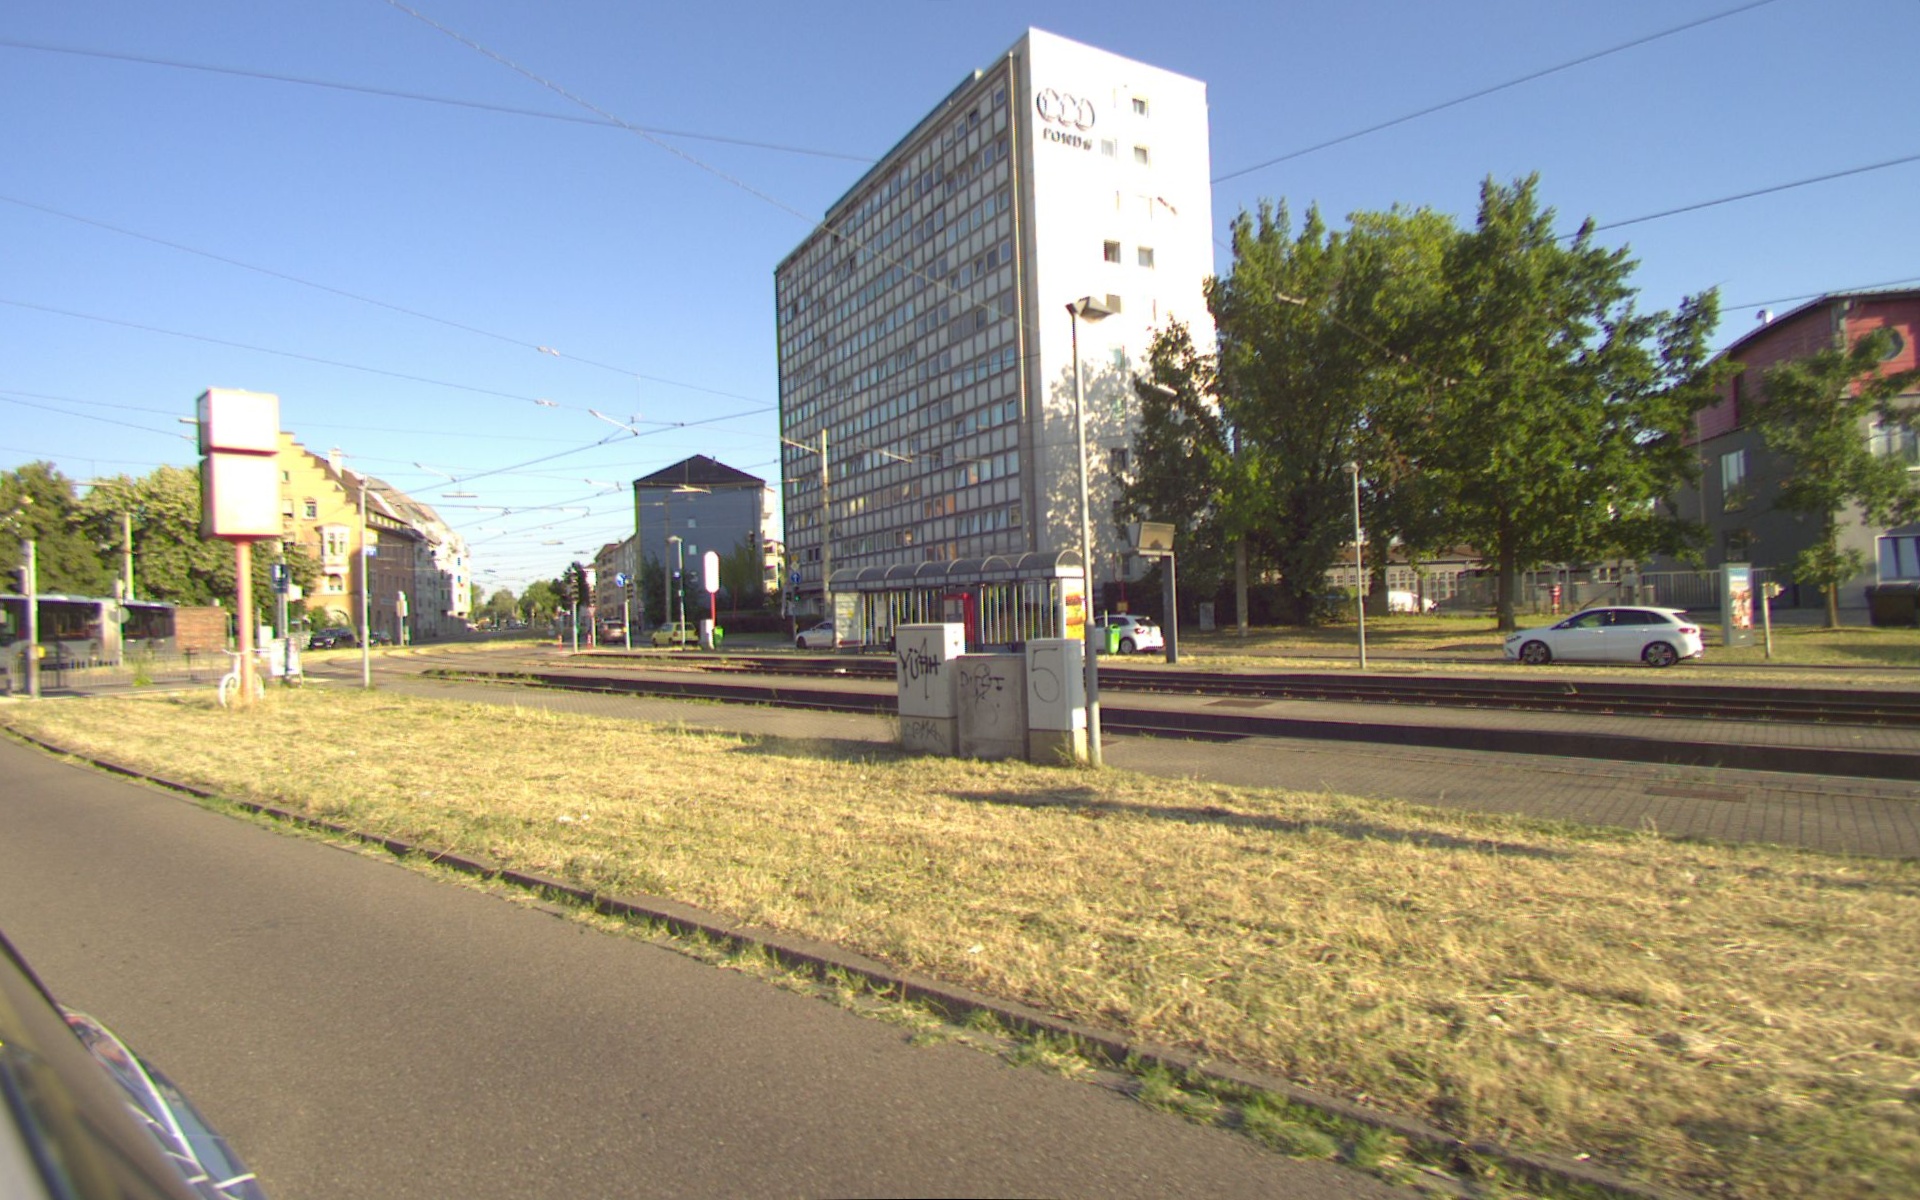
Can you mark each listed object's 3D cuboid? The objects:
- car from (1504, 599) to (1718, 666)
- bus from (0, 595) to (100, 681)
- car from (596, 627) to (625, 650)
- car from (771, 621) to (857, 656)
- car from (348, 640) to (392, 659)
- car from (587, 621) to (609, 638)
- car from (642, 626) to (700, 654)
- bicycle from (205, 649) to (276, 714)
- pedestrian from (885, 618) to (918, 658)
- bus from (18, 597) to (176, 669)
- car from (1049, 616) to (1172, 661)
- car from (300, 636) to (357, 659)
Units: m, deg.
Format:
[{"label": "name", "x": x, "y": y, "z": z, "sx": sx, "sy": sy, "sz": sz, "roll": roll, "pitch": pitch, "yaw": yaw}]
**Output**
[{"label": "car", "x": 16.759, "y": 0.853, "z": 26.187, "sx": 4.433, "sy": 1.560, "sz": 1.718, "roll": -3, "pitch": -1, "yaw": 41}, {"label": "bus", "x": -37.097, "y": 1.465, "z": 39.480, "sx": 2.568, "sy": 3.048, "sz": 9.609, "roll": -1, "pitch": -1, "yaw": -22}, {"label": "car", "x": -24.368, "y": 2.632, "z": 70.481, "sx": 1.850, "sy": 1.485, "sz": 4.142, "roll": -2, "pitch": -1, "yaw": -20}, {"label": "car", "x": -6.886, "y": 1.822, "z": 47.615, "sx": 4.127, "sy": 1.485, "sz": 1.718, "roll": -3, "pitch": -1, "yaw": 41}, {"label": "car", "x": -50.197, "y": 4.175, "z": 86.162, "sx": 1.716, "sy": 1.425, "sz": 3.983, "roll": -2, "pitch": -1, "yaw": -5}, {"label": "car", "x": -34.915, "y": 2.825, "z": 97.627, "sx": 1.850, "sy": 1.485, "sz": 4.142, "roll": -2, "pitch": -1, "yaw": -20}, {"label": "car", "x": -16.723, "y": 2.325, "z": 58.482, "sx": 1.714, "sy": 1.485, "sz": 4.137, "roll": -1, "pitch": -1, "yaw": -39}, {"label": "bicycle", "x": -12.363, "y": 1.376, "z": 17.435, "sx": 0.597, "sy": 1.001, "sz": 1.752, "roll": -1, "pitch": -1, "yaw": -22}, {"label": "pedestrian", "x": -1.957, "y": 1.266, "z": 34.090, "sx": 0.661, "sy": 1.277, "sz": 0.943, "roll": -1, "pitch": 0, "yaw": 35}, {"label": "bus", "x": -40.264, "y": 1.489, "z": 47.658, "sx": 2.569, "sy": 3.048, "sz": 8.886, "roll": -1, "pitch": -1, "yaw": -19}, {"label": "car", "x": 5.398, "y": 1.414, "z": 36.613, "sx": 4.127, "sy": 1.485, "sz": 1.718, "roll": -3, "pitch": -1, "yaw": 41}, {"label": "car", "x": -44.489, "y": 3.318, "z": 71.391, "sx": 1.716, "sy": 1.485, "sz": 3.983, "roll": -2, "pitch": -1, "yaw": -5}]
